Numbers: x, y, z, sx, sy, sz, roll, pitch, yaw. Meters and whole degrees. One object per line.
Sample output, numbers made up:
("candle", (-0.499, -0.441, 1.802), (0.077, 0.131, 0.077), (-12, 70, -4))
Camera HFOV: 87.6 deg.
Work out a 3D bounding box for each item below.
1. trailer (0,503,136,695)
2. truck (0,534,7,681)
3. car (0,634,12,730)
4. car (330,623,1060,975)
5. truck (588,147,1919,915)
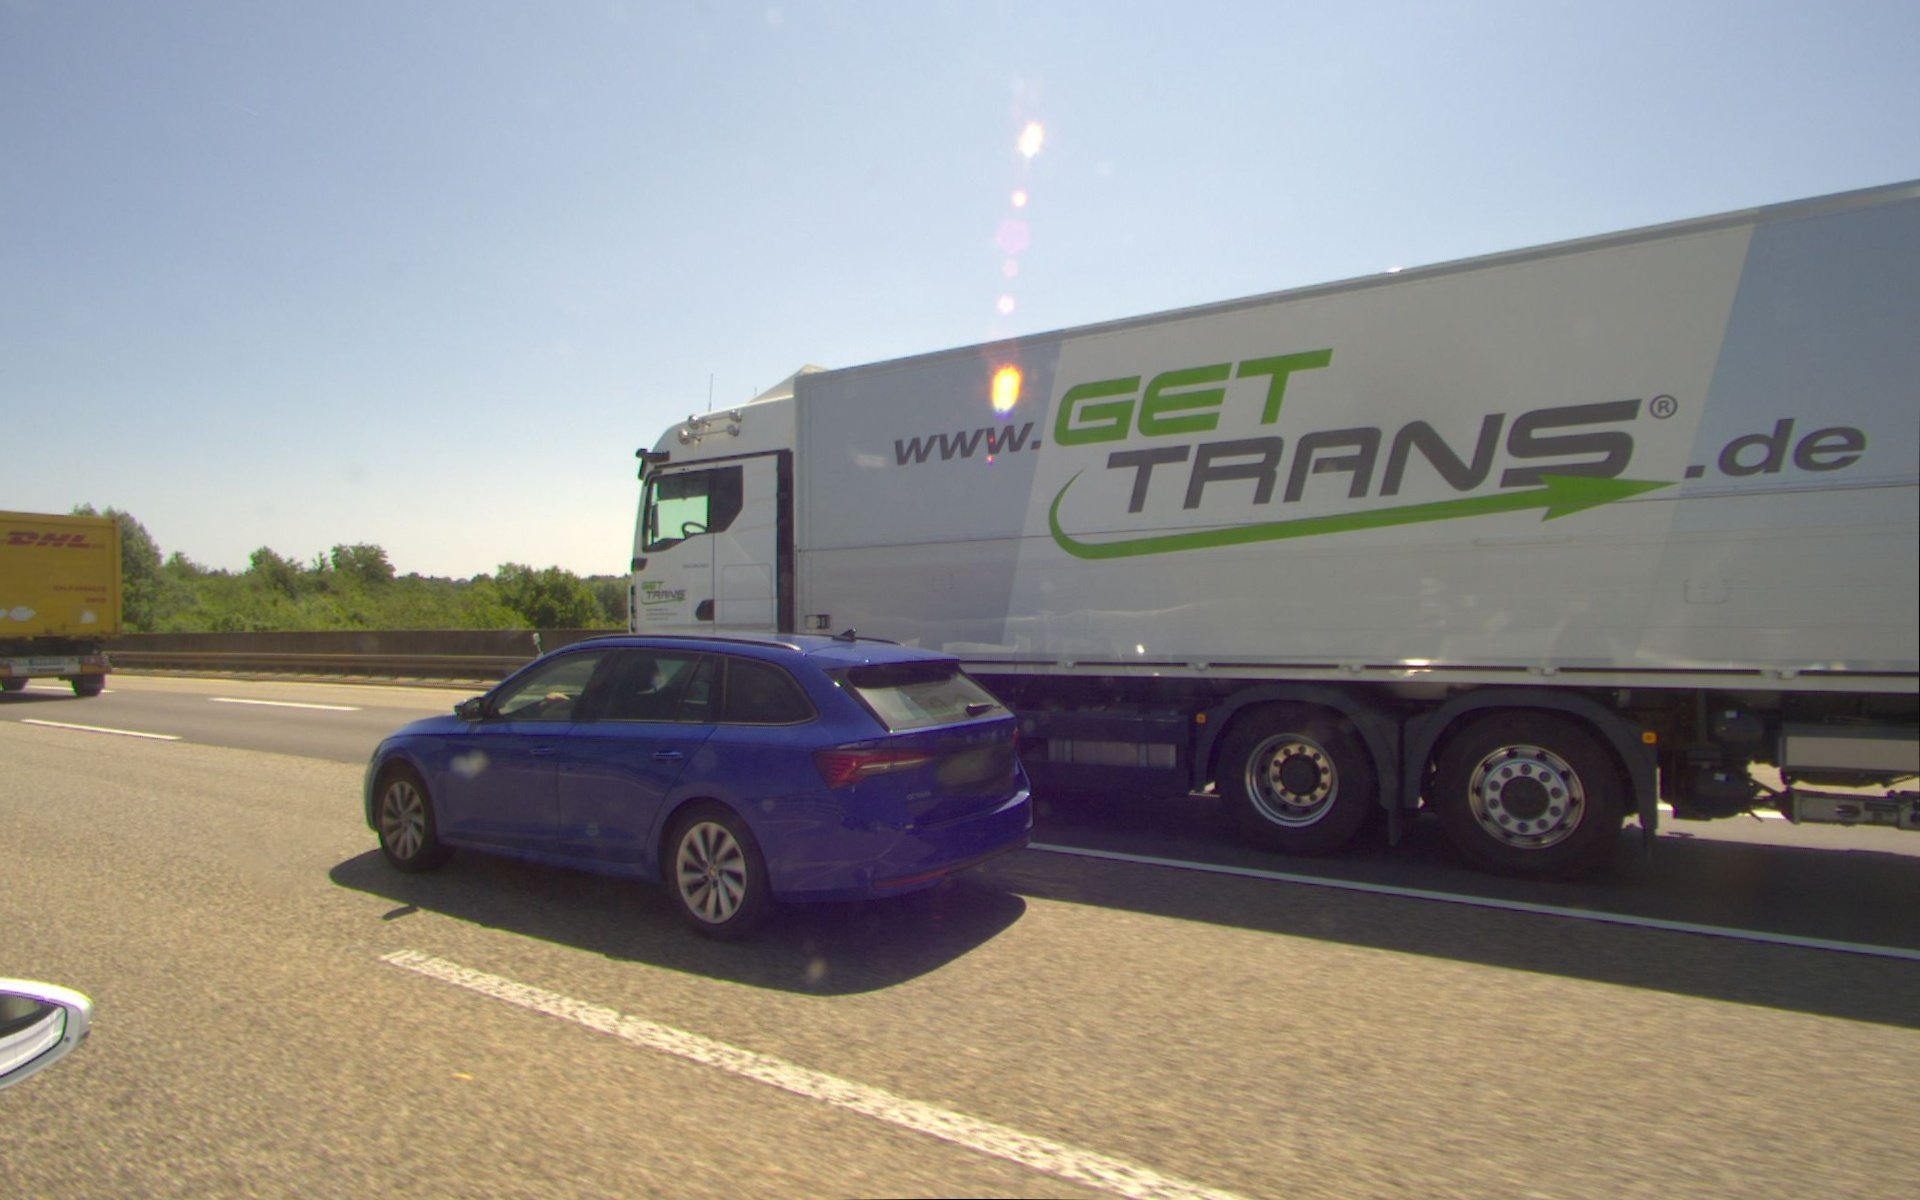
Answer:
("trailer", (-23.631, 0.135, 24.480), (8.803, 4.074, 2.697), (-2, -2, 32))
("truck", (-31.678, 0.320, 29.570), (10.190, 4.105, 2.718), (-2, -2, 32))
("car", (-16.165, 1.221, 15.084), (4.128, 1.405, 1.778), (-1, -2, 32))
("car", (-1.765, 0.891, 6.065), (4.435, 1.459, 1.707), (-1, -2, 32))
("truck", (1.685, -0.177, 8.138), (10.611, 3.648, 2.847), (-2, -2, 31))
